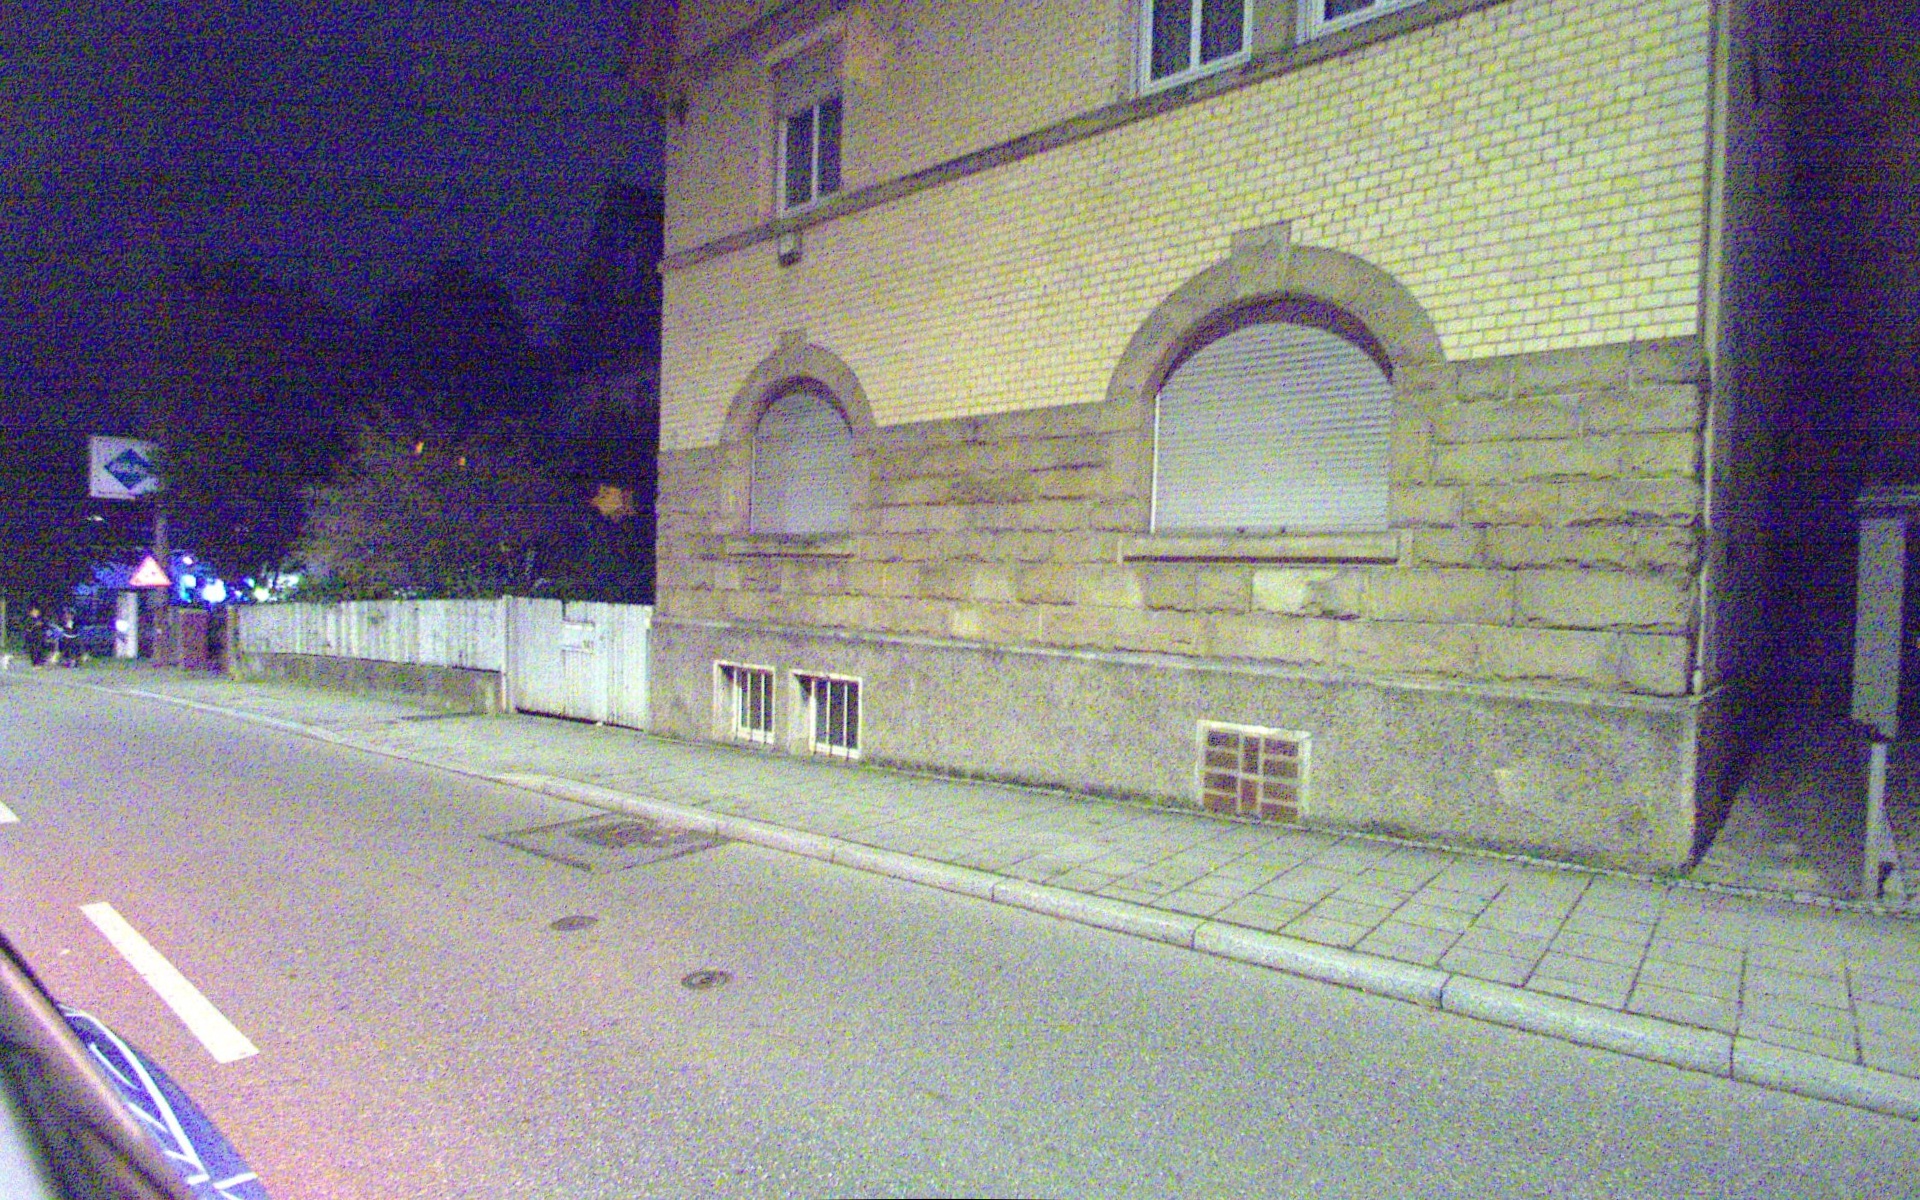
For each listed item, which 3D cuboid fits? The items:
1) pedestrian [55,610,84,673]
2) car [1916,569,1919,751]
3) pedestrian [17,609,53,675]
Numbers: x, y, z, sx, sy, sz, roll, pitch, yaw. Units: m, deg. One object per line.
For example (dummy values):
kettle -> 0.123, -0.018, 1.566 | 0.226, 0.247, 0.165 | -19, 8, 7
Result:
pedestrian -> -25.730, 1.187, 29.237 | 0.500, 1.773, 0.557 | -1, 0, 41
car -> 7.216, 0.530, 6.216 | 1.718, 1.452, 3.612 | -1, 1, 40
pedestrian -> -25.432, 1.152, 27.815 | 0.500, 1.773, 0.664 | -1, 0, 41
